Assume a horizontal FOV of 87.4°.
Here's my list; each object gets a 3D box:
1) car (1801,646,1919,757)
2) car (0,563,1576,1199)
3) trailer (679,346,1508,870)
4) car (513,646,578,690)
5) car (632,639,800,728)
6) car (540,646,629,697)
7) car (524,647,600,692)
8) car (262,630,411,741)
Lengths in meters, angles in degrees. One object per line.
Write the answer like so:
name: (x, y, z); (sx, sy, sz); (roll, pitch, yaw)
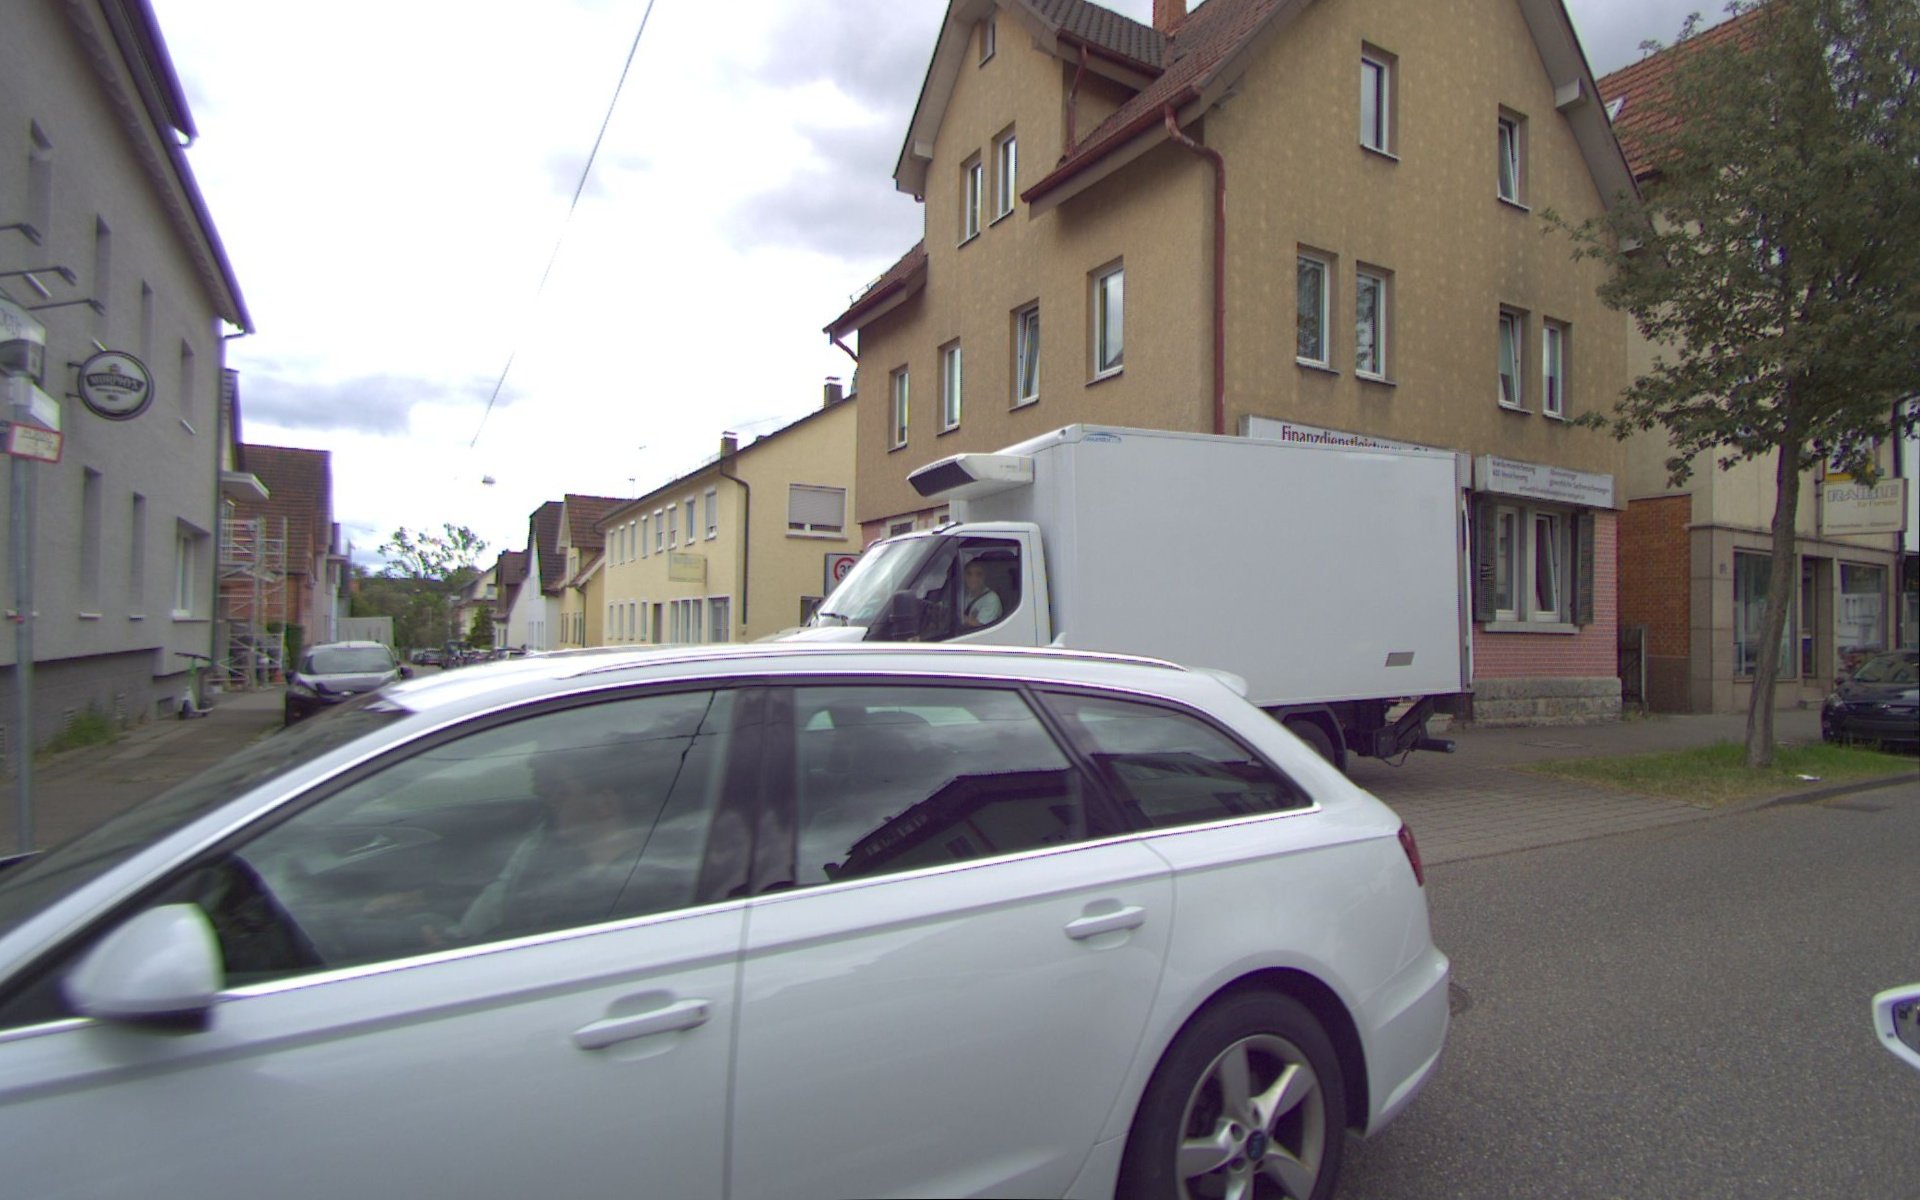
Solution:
car: (13.923, 1.393, 14.378); (3.885, 1.443, 1.674); (2, -3, -31)
car: (-0.688, 0.750, 2.446); (4.490, 1.452, 1.834); (2, -3, -30)
trailer: (1.326, 0.104, 8.882); (7.037, 3.262, 2.496); (1, 0, -25)
car: (-16.798, 2.685, 40.630); (1.891, 1.469, 3.967); (-1, 0, -31)
car: (-4.871, 1.612, 19.633); (1.957, 1.467, 4.179); (6, -6, -30)
car: (-11.776, 2.249, 31.369); (1.892, 1.468, 3.968); (3, -5, -31)
car: (-14.409, 2.509, 36.257); (1.865, 1.467, 3.968); (5, -6, -30)
car: (-10.338, 1.313, 16.916); (1.757, 1.501, 3.972); (-1, 0, -27)
